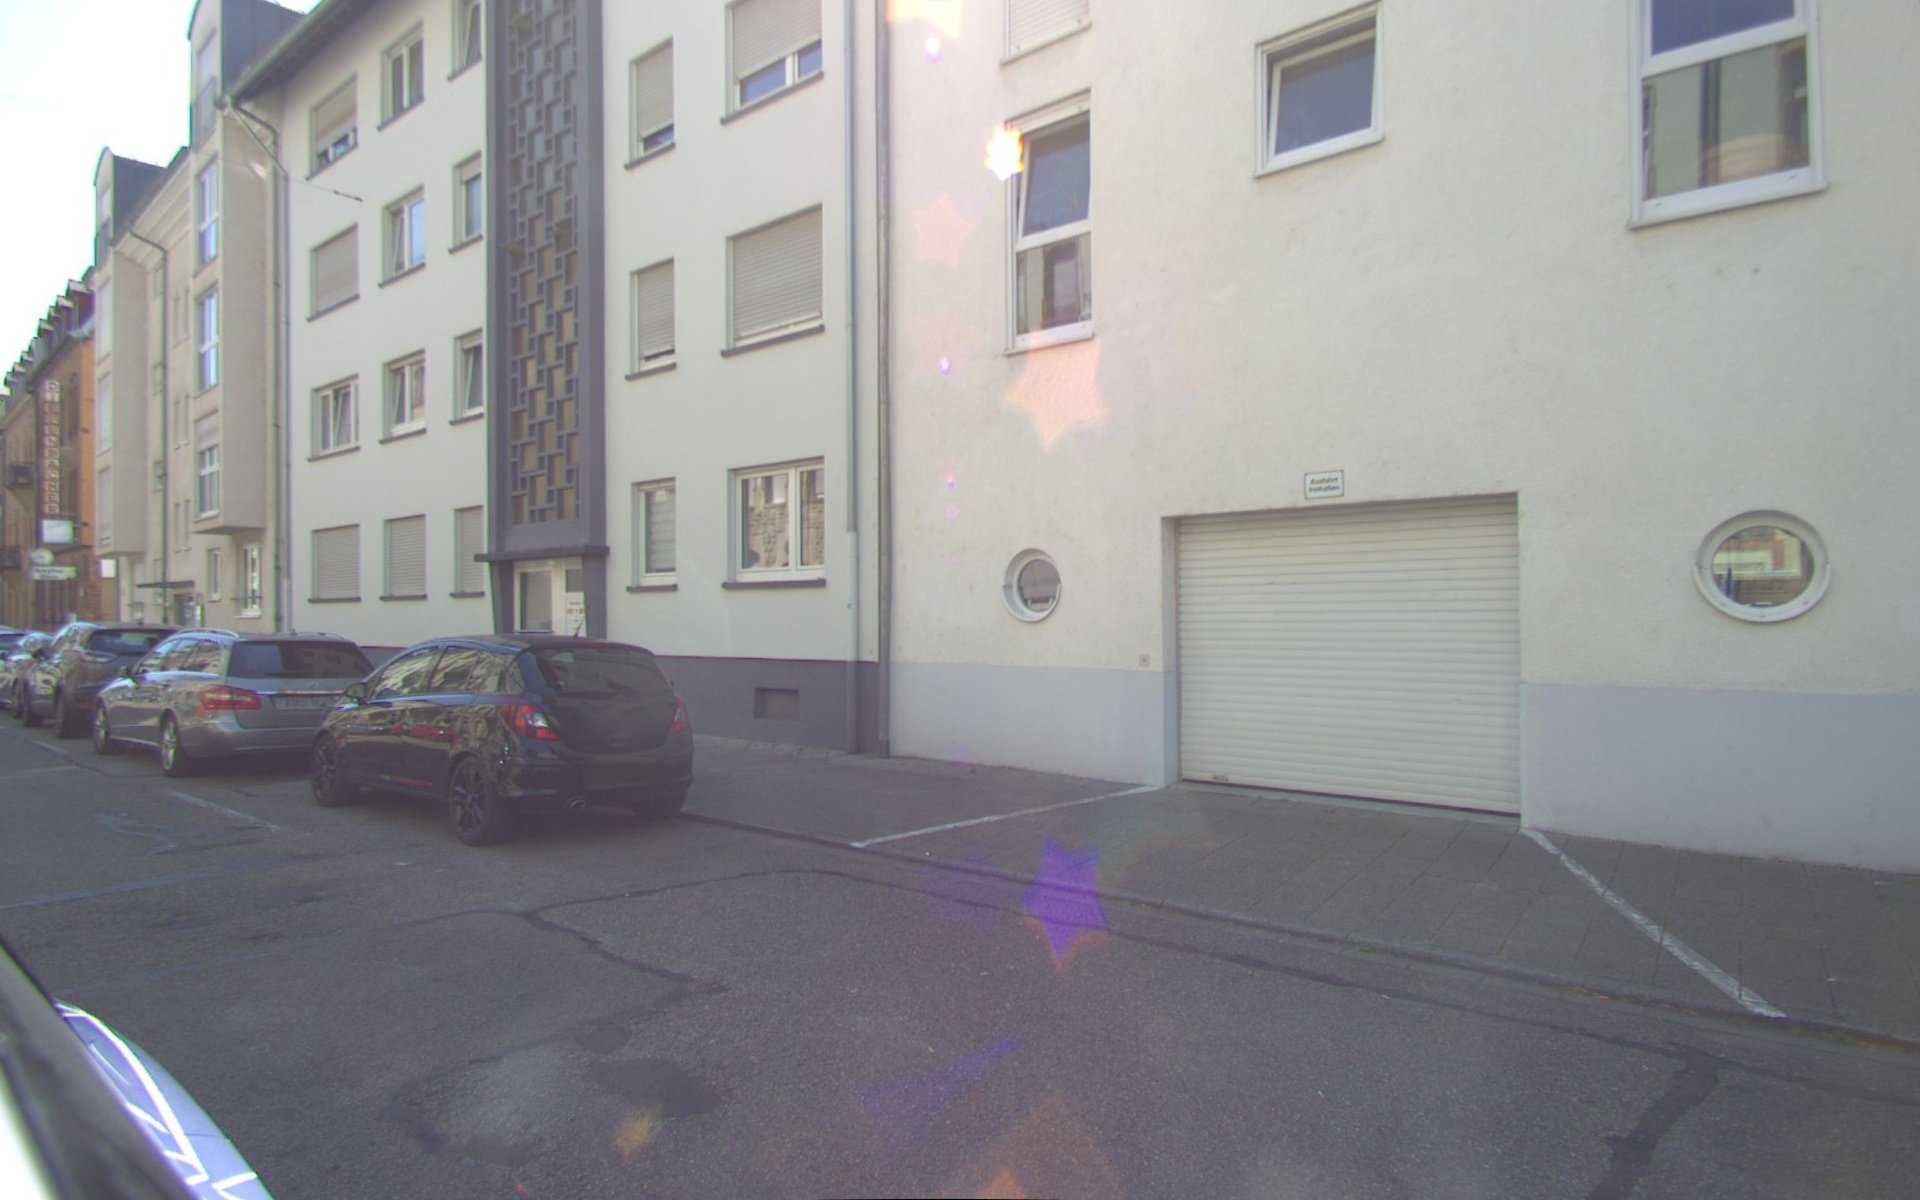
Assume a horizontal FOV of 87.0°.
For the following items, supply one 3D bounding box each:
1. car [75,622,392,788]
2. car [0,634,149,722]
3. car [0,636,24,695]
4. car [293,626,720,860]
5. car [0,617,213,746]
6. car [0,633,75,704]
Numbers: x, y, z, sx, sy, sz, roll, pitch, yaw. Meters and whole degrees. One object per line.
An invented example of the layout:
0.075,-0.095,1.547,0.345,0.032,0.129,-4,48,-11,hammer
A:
-8.332,1.039,11.441,4.665,1.530,1.640,-1,-3,38,car
-16.444,1.336,18.336,4.343,1.404,1.748,-1,-3,38,car
-26.992,1.715,27.388,3.845,1.561,1.614,-1,-5,36,car
-3.857,0.984,8.348,3.888,1.503,1.552,-1,-3,38,car
-12.594,1.113,14.839,3.972,1.657,1.588,-1,-3,38,car
-21.658,1.490,22.835,4.343,1.506,1.714,-1,-4,38,car
